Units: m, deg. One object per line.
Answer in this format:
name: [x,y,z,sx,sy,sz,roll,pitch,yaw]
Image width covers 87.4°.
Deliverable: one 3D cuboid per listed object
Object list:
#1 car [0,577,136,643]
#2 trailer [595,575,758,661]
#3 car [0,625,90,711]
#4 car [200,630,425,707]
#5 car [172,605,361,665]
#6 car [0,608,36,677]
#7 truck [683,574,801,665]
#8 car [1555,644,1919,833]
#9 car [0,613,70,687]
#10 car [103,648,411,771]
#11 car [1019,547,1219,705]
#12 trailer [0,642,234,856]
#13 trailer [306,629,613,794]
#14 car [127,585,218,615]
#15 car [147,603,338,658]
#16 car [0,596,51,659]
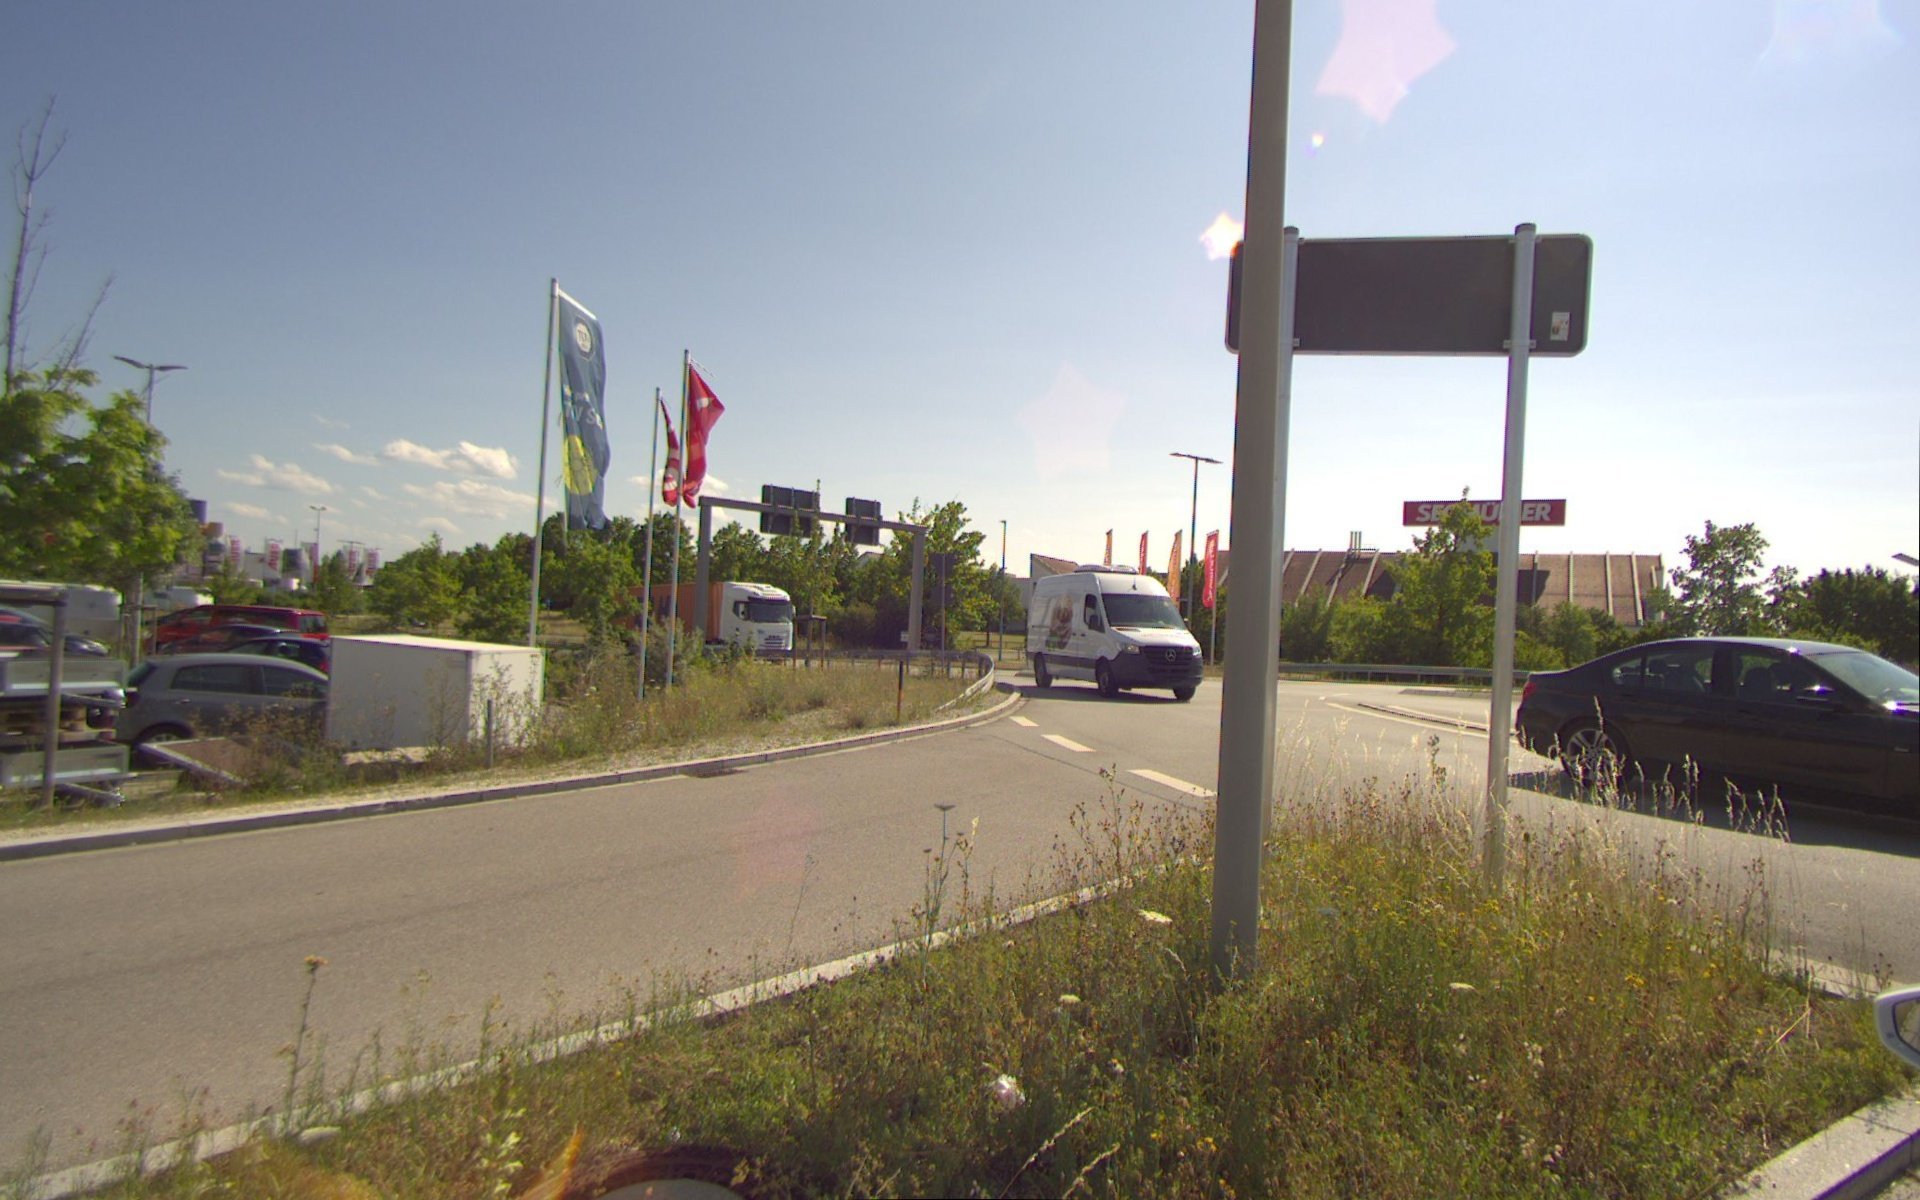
car: [-29.979,0.323,33.091,4.315,2.040,1.881,3,0,-41]
trailer: [-15.609,0.826,54.337,12.189,4.209,2.546,1,-1,44]
car: [-17.665,1.156,17.335,3.970,1.483,1.803,3,-3,-42]
car: [-15.099,1.594,23.621,3.925,1.483,1.824,4,-2,-6]
car: [-19.458,0.973,28.344,3.925,1.483,1.824,2,0,-6]
car: [-23.420,0.909,22.368,3.963,1.483,1.806,3,0,-37]
truck: [-10.827,0.891,49.531,2.646,4.161,6.348,2,-1,-45]
car: [7.252,1.077,8.216,1.654,1.198,3.841,2,0,-24]
car: [-21.464,1.016,21.078,3.963,1.483,1.806,3,0,-37]
car: [-10.799,1.594,15.594,3.713,1.572,1.724,3,0,-39]
car: [3.250,0.629,22.216,2.050,2.959,6.121,2,-3,-15]
trailer: [-10.154,1.477,10.972,3.623,1.795,1.808,2,0,19]
trailer: [-7.055,1.464,14.236,3.624,1.795,1.808,4,1,19]
car: [-67.274,0.004,85.906,6.150,2.264,2.040,2,0,1]
car: [-21.882,0.915,30.790,4.371,1.483,1.824,2,0,-6]
car: [-24.749,0.625,24.236,3.963,1.483,1.806,3,0,-37]
